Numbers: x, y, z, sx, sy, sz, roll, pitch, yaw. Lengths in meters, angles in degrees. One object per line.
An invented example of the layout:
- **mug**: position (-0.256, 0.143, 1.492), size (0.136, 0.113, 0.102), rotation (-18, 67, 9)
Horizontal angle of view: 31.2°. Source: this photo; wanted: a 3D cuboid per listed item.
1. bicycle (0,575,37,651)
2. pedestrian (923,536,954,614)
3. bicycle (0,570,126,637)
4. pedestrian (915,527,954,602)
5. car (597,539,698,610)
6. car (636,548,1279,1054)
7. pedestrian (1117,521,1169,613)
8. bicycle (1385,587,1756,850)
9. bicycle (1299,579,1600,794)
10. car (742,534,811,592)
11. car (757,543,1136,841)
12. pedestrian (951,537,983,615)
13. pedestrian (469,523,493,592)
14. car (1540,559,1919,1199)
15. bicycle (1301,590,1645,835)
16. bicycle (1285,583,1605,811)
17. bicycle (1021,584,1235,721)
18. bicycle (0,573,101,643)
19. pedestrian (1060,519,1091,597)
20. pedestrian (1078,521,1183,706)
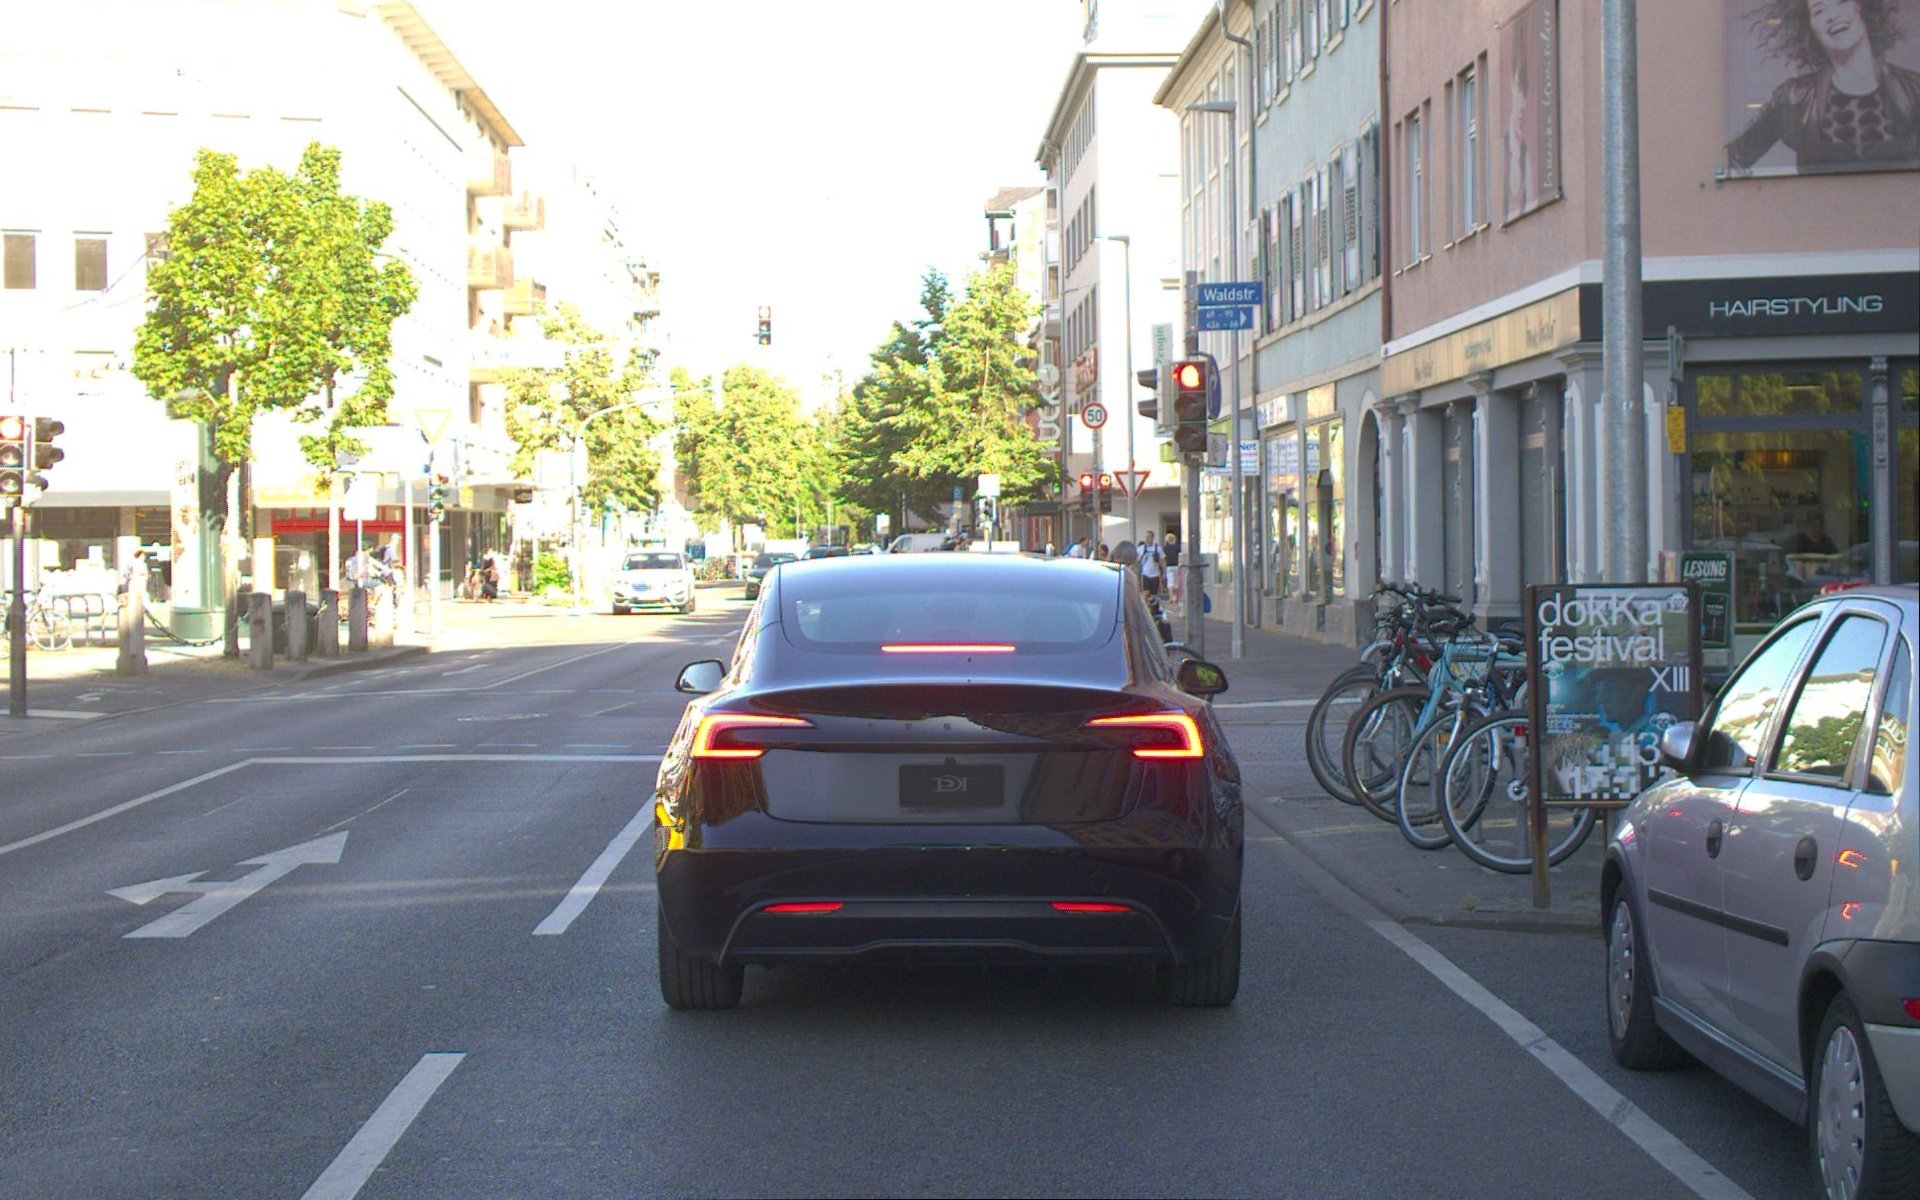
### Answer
- **bicycle**: position (-14.609, 0.183, 50.134), size (2.082, 1.100, 0.806), rotation (0, 1, 0)
- **pedestrian**: position (-0.555, -0.650, 88.563), size (0.627, 2.007, 0.558), rotation (0, 1, 19)
- **bicycle**: position (-14.989, 0.052, 57.102), size (2.082, 1.100, 0.806), rotation (0, 1, 0)
- **pedestrian**: position (-0.679, -0.950, 91.856), size (0.750, 2.007, 0.798), rotation (0, 1, -26)
- **car**: position (-7.448, -0.632, 82.302), size (1.993, 1.535, 4.000), rotation (-4, 1, 0)
- **car**: position (0.002, 0.550, 11.803), size (1.850, 1.450, 3.786), rotation (0, 1, 0)
- **pedestrian**: position (3.710, -0.670, 69.789), size (0.999, 1.844, 0.615), rotation (0, 1, -1)
- **bicycle**: position (2.854, 0.547, 16.139), size (1.627, 1.156, 0.433), rotation (-2, 1, -1)
- **bicycle**: position (2.789, 0.486, 19.651), size (1.628, 1.156, 0.433), rotation (-2, 1, 1)
- **car**: position (-5.562, -1.132, 103.767), size (2.050, 1.721, 4.654), rotation (0, 1, -4)
- **car**: position (-0.057, 0.420, 18.703), size (1.850, 1.450, 3.786), rotation (0, 1, 0)
- **pedestrian**: position (0.177, -0.615, 88.253), size (0.627, 2.007, 0.558), rotation (1, 1, 29)
- **pedestrian**: position (-14.137, -1.255, 101.469), size (0.626, 2.007, 0.575), rotation (0, 1, 0)
- **car**: position (2.568, 0.606, 8.508), size (1.622, 1.389, 3.886), rotation (0, 1, 0)
- **bicycle**: position (2.575, 0.560, 17.313), size (1.627, 1.156, 0.433), rotation (-2, 1, -1)
- **bicycle**: position (2.608, 0.518, 18.557), size (1.627, 1.156, 0.433), rotation (-2, 1, -1)
- **bicycle**: position (1.328, 0.405, 27.067), size (1.616, 1.041, 0.590), rotation (1, 1, 10)
- **bicycle**: position (-14.855, 0.126, 54.909), size (2.082, 1.100, 0.806), rotation (0, 1, 0)
- **pedestrian**: position (2.976, -1.080, 88.367), size (0.627, 2.007, 0.558), rotation (1, 1, 24)
- **pedestrian**: position (1.344, 0.099, 27.054), size (0.743, 1.435, 0.582), rotation (1, 1, 10)
